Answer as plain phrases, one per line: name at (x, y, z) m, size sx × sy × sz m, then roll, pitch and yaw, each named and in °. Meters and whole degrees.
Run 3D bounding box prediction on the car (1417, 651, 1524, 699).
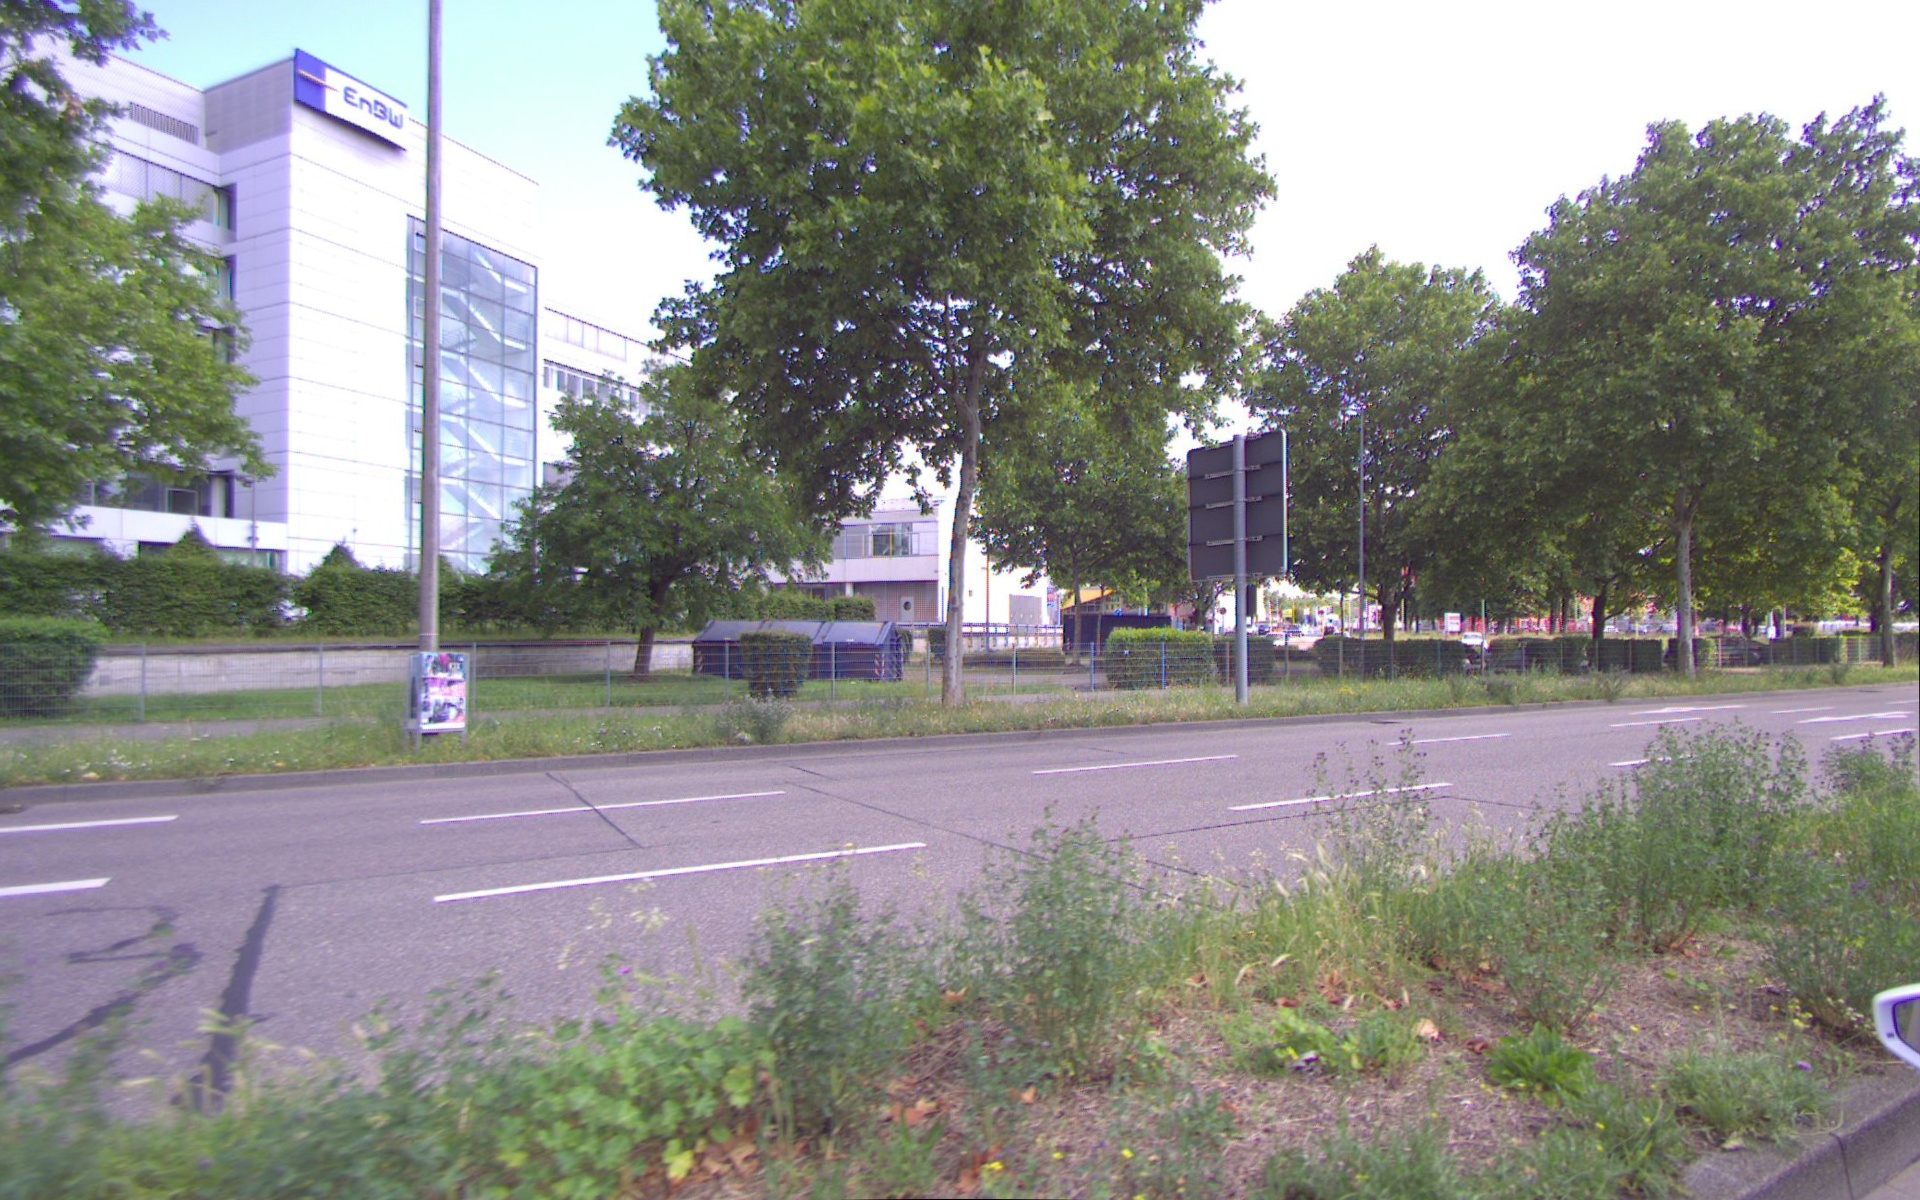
car at (20.007, 2.944, 39.358) m, size 3.955 × 1.616 × 1.882 m, roll 5°, pitch -3°, yaw -31°
